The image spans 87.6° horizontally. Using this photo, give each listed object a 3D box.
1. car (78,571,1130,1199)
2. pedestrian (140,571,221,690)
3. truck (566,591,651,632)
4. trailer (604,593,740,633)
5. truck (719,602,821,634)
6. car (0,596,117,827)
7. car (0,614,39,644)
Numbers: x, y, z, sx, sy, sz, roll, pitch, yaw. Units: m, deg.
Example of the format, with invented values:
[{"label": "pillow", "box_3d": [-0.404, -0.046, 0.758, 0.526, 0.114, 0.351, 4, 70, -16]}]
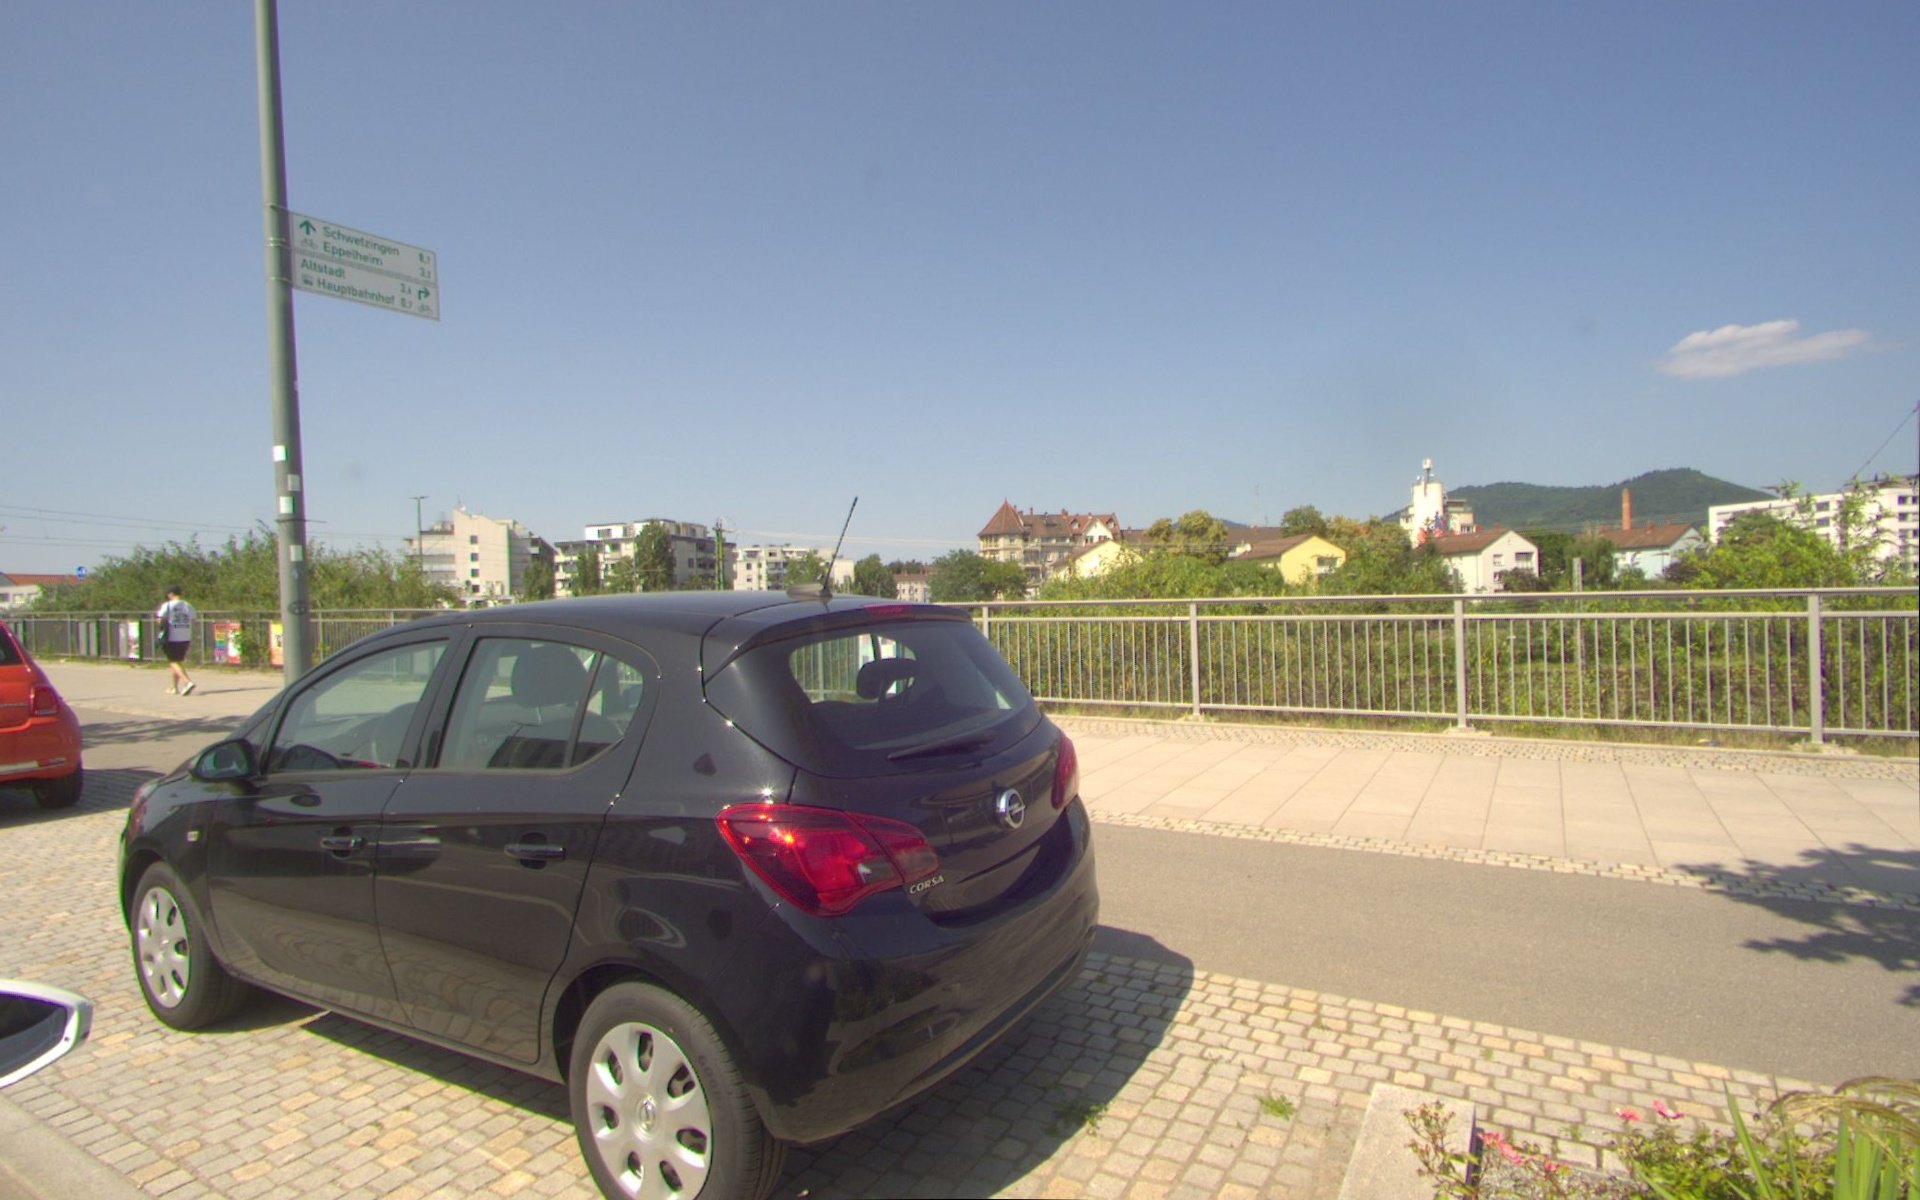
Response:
[{"label": "car", "box_3d": [-1.353, 0.739, 3.491, 3.495, 1.577, 1.577, 0, 2, 32]}, {"label": "pedestrian", "box_3d": [-12.487, 0.496, 16.053, 0.872, 1.853, 0.757, -1, -2, 32]}, {"label": "truck", "box_3d": [-29.678, 1.027, 84.904, 3.672, 3.244, 6.485, -1, -2, 17]}, {"label": "trailer", "box_3d": [-26.724, 1.431, 94.855, 3.674, 3.243, 17.243, -1, -2, 17]}, {"label": "truck", "box_3d": [-21.240, 2.222, 113.999, 3.674, 3.243, 17.876, -1, -2, 17]}, {"label": "car", "box_3d": [-8.362, 0.766, 7.749, 3.859, 1.561, 1.666, 1, 2, 32]}, {"label": "car", "box_3d": [-46.601, 1.401, 47.629, 1.508, 1.380, 3.788, 0, 0, 27]}]
